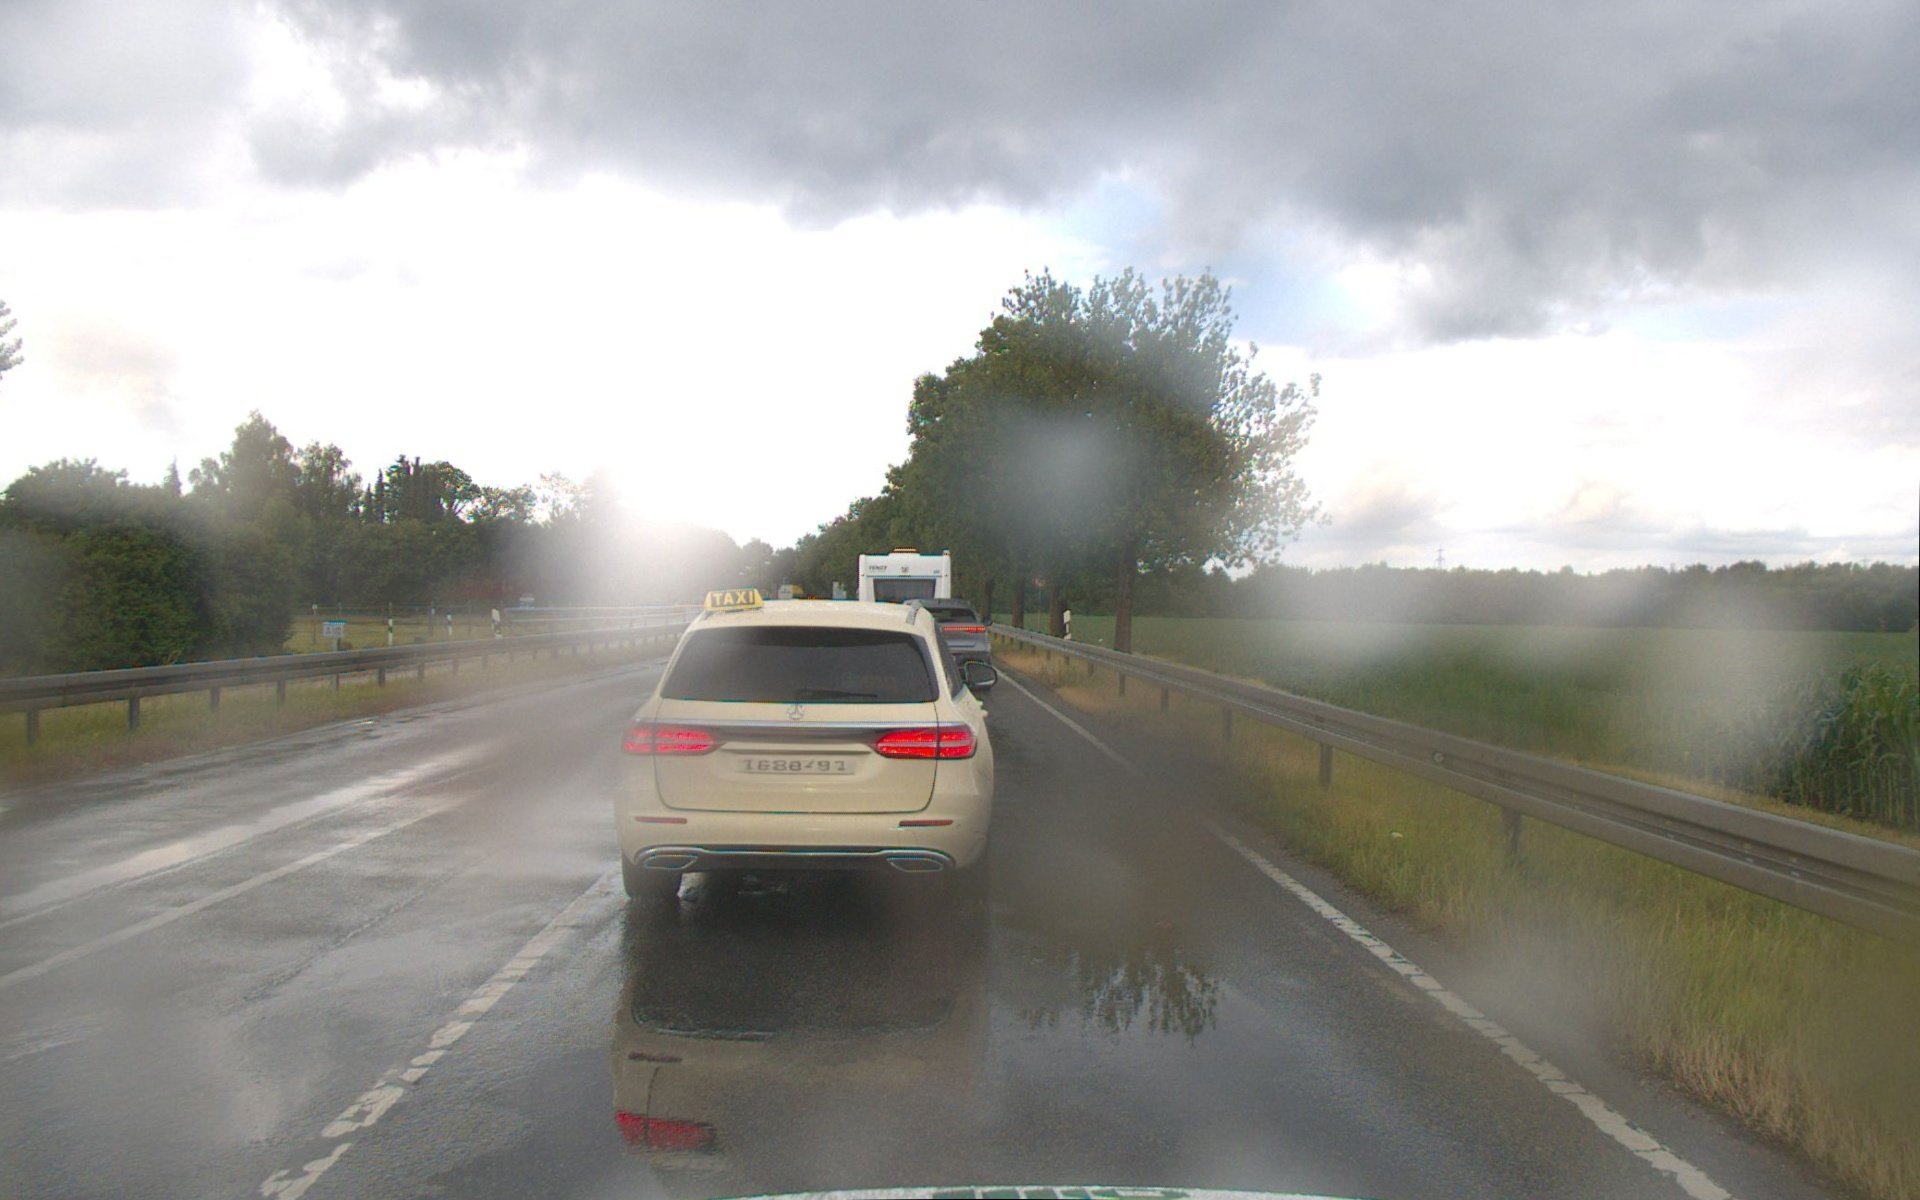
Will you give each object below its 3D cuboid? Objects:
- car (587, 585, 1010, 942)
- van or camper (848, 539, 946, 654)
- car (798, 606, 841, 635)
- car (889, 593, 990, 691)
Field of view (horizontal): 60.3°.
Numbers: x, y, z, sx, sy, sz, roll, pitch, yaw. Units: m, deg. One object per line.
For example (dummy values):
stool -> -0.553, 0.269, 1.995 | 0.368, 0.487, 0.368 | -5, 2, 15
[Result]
car -> -0.685, 0.698, 9.096 | 1.787, 1.511, 4.145 | 0, 0, 0
van or camper -> -1.555, -0.105, 42.459 | 2.303, 2.727, 5.767 | 1, 0, -1
car -> -6.543, 0.923, 77.332 | 1.723, 1.291, 3.999 | 1, 0, -1
car -> -0.367, 0.675, 28.533 | 1.594, 1.556, 3.931 | 1, 0, -1
